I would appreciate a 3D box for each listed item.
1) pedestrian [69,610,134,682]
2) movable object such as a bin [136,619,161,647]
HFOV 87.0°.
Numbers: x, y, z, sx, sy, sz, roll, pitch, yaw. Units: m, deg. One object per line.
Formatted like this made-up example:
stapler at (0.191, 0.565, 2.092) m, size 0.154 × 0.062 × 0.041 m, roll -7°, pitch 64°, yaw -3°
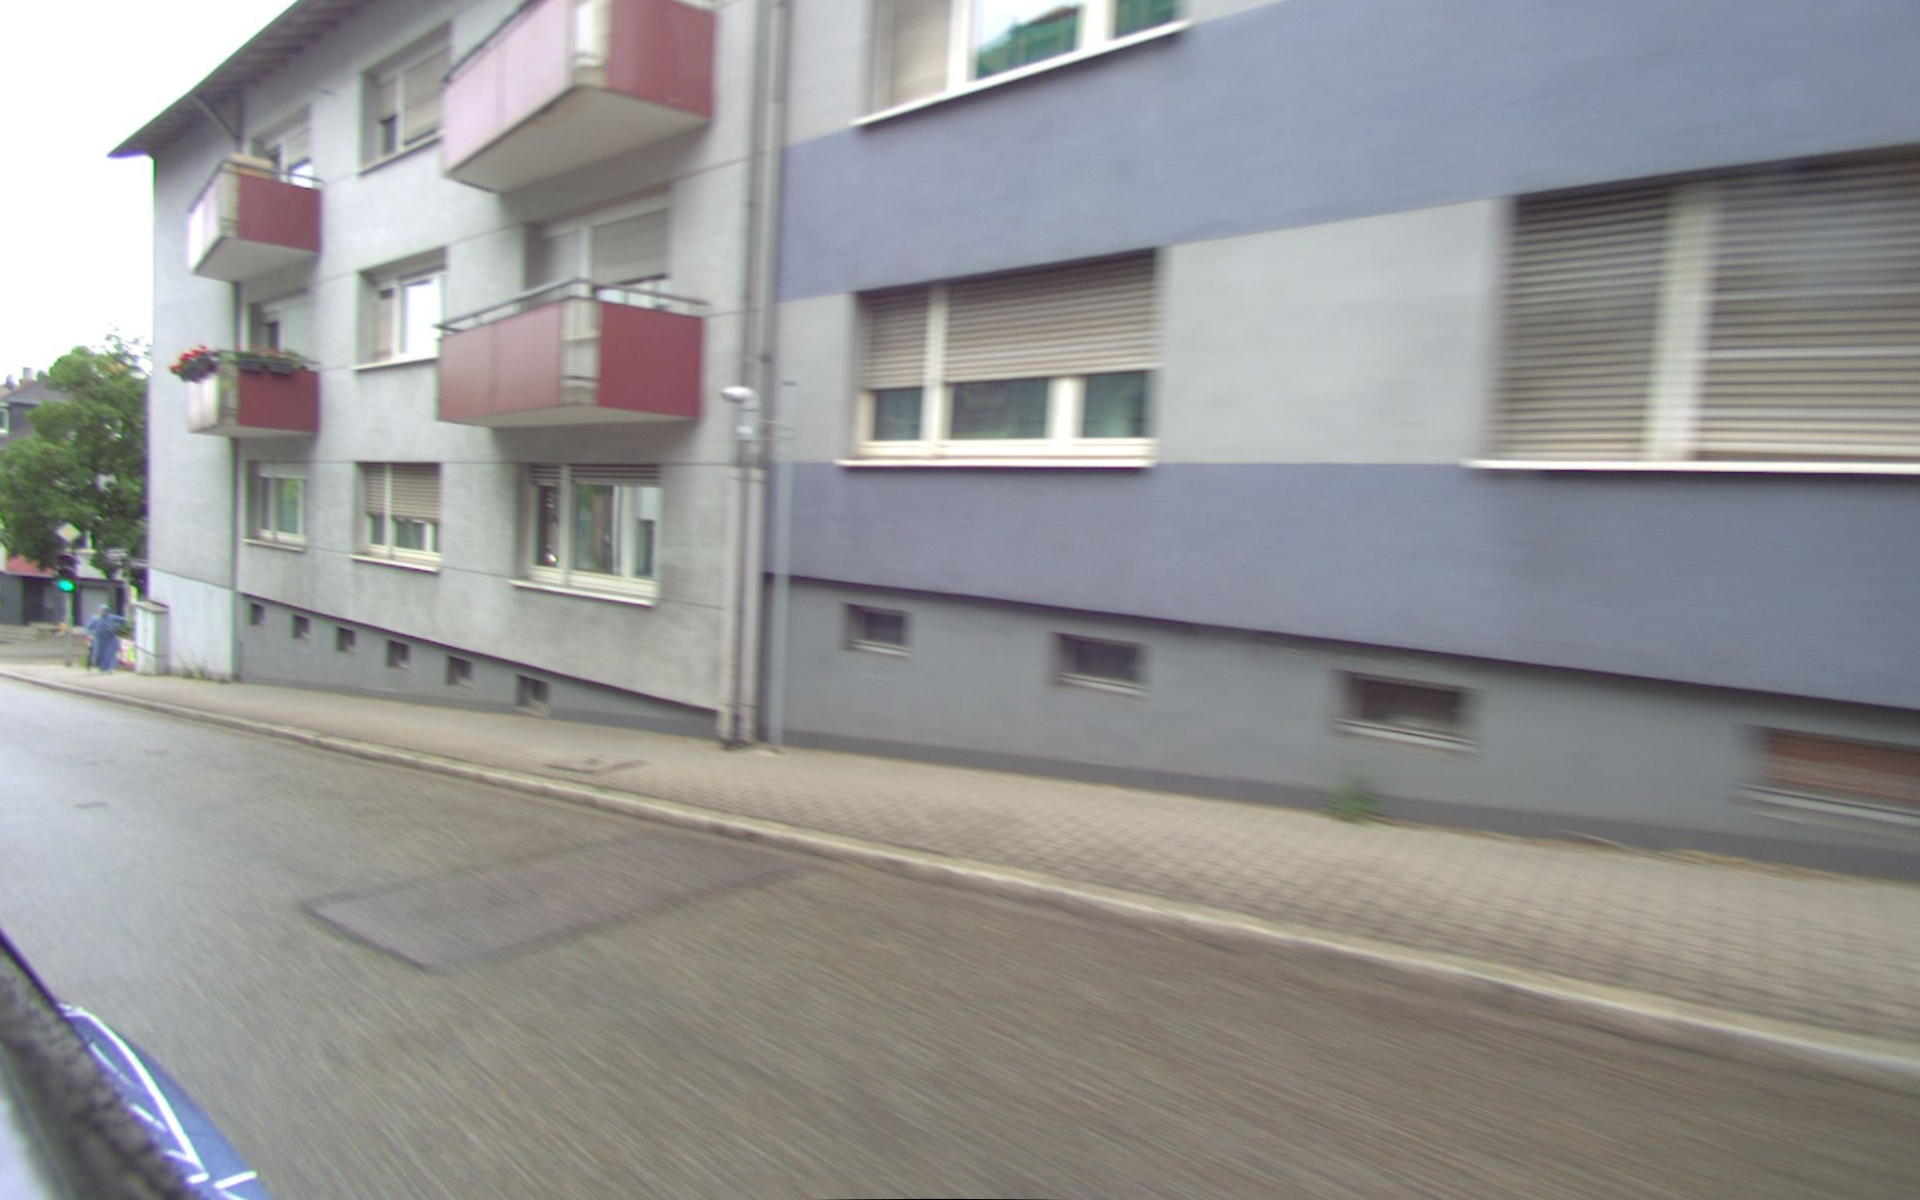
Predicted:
pedestrian at (-19.527, 1.034, 23.023) m, size 1.085 × 1.553 × 0.861 m, roll -3°, pitch 0°, yaw 36°
movable object such as a bin at (-36.698, 1.472, 45.748) m, size 0.682 × 1.208 × 0.559 m, roll 0°, pitch 2°, yaw 13°
